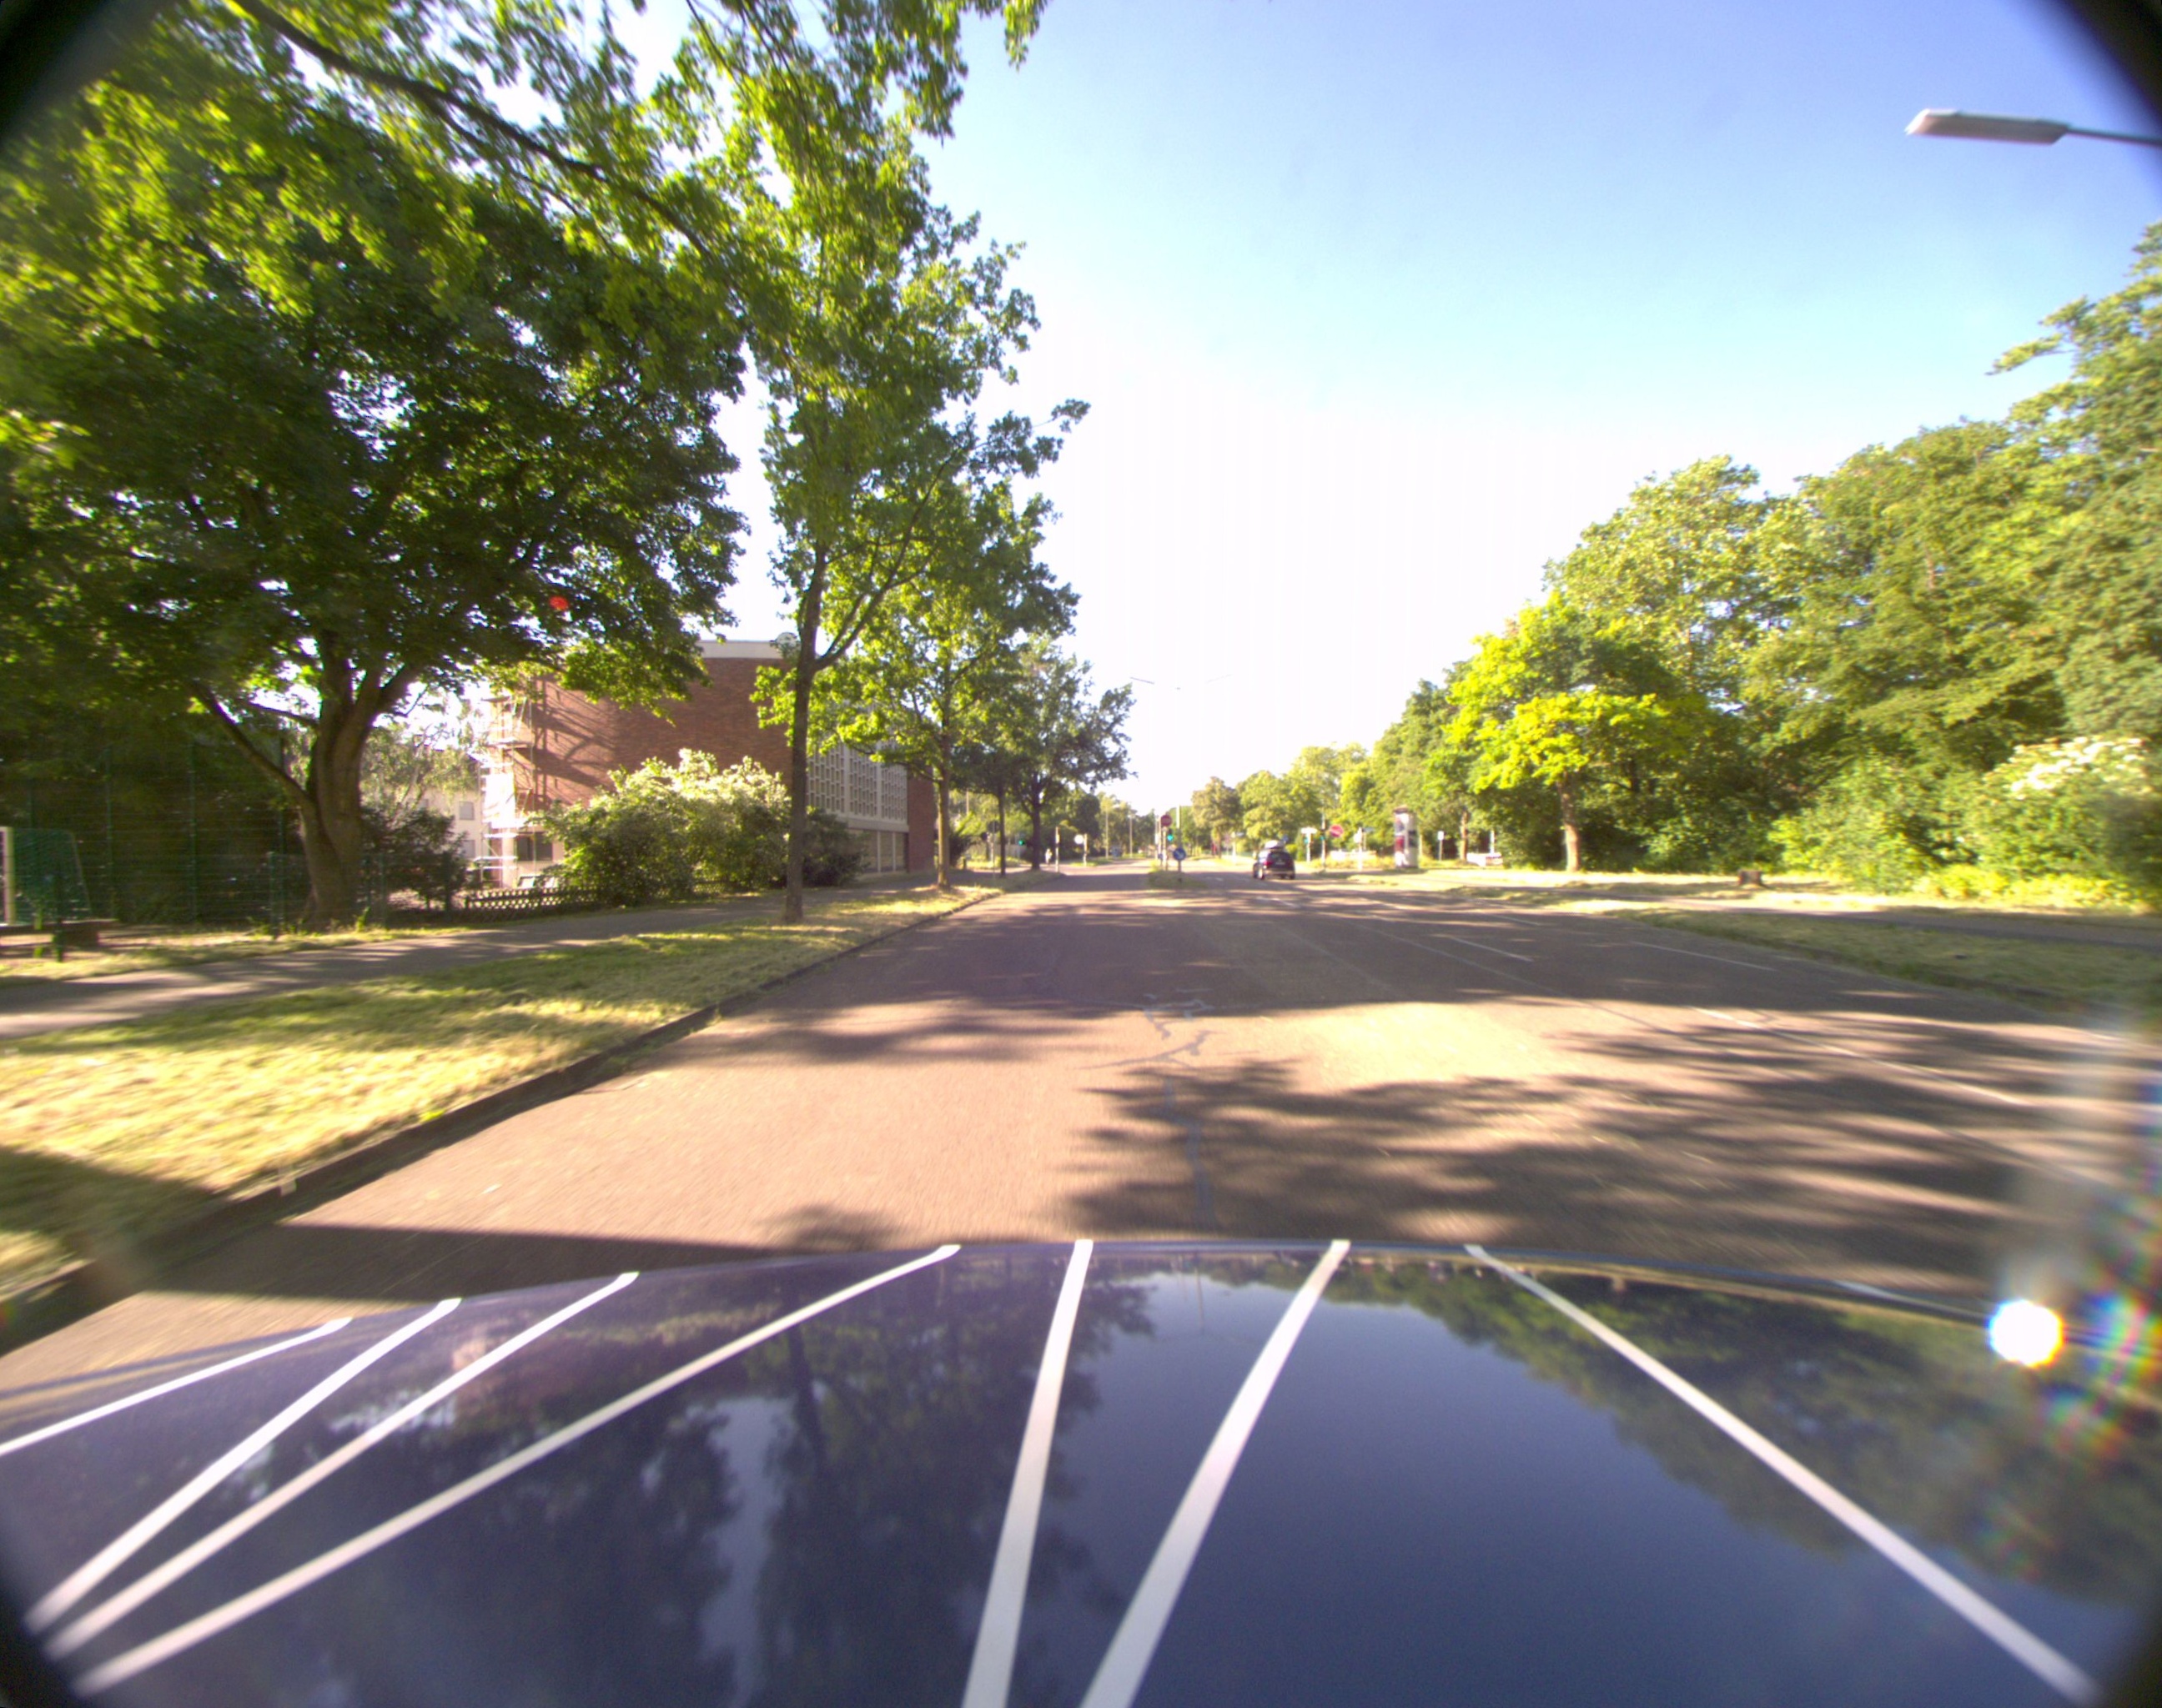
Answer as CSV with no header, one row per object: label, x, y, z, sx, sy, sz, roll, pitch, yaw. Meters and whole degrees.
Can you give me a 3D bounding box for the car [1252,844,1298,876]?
car,10.843,0.277,42.744,1.843,1.698,4.506,0,1,6
